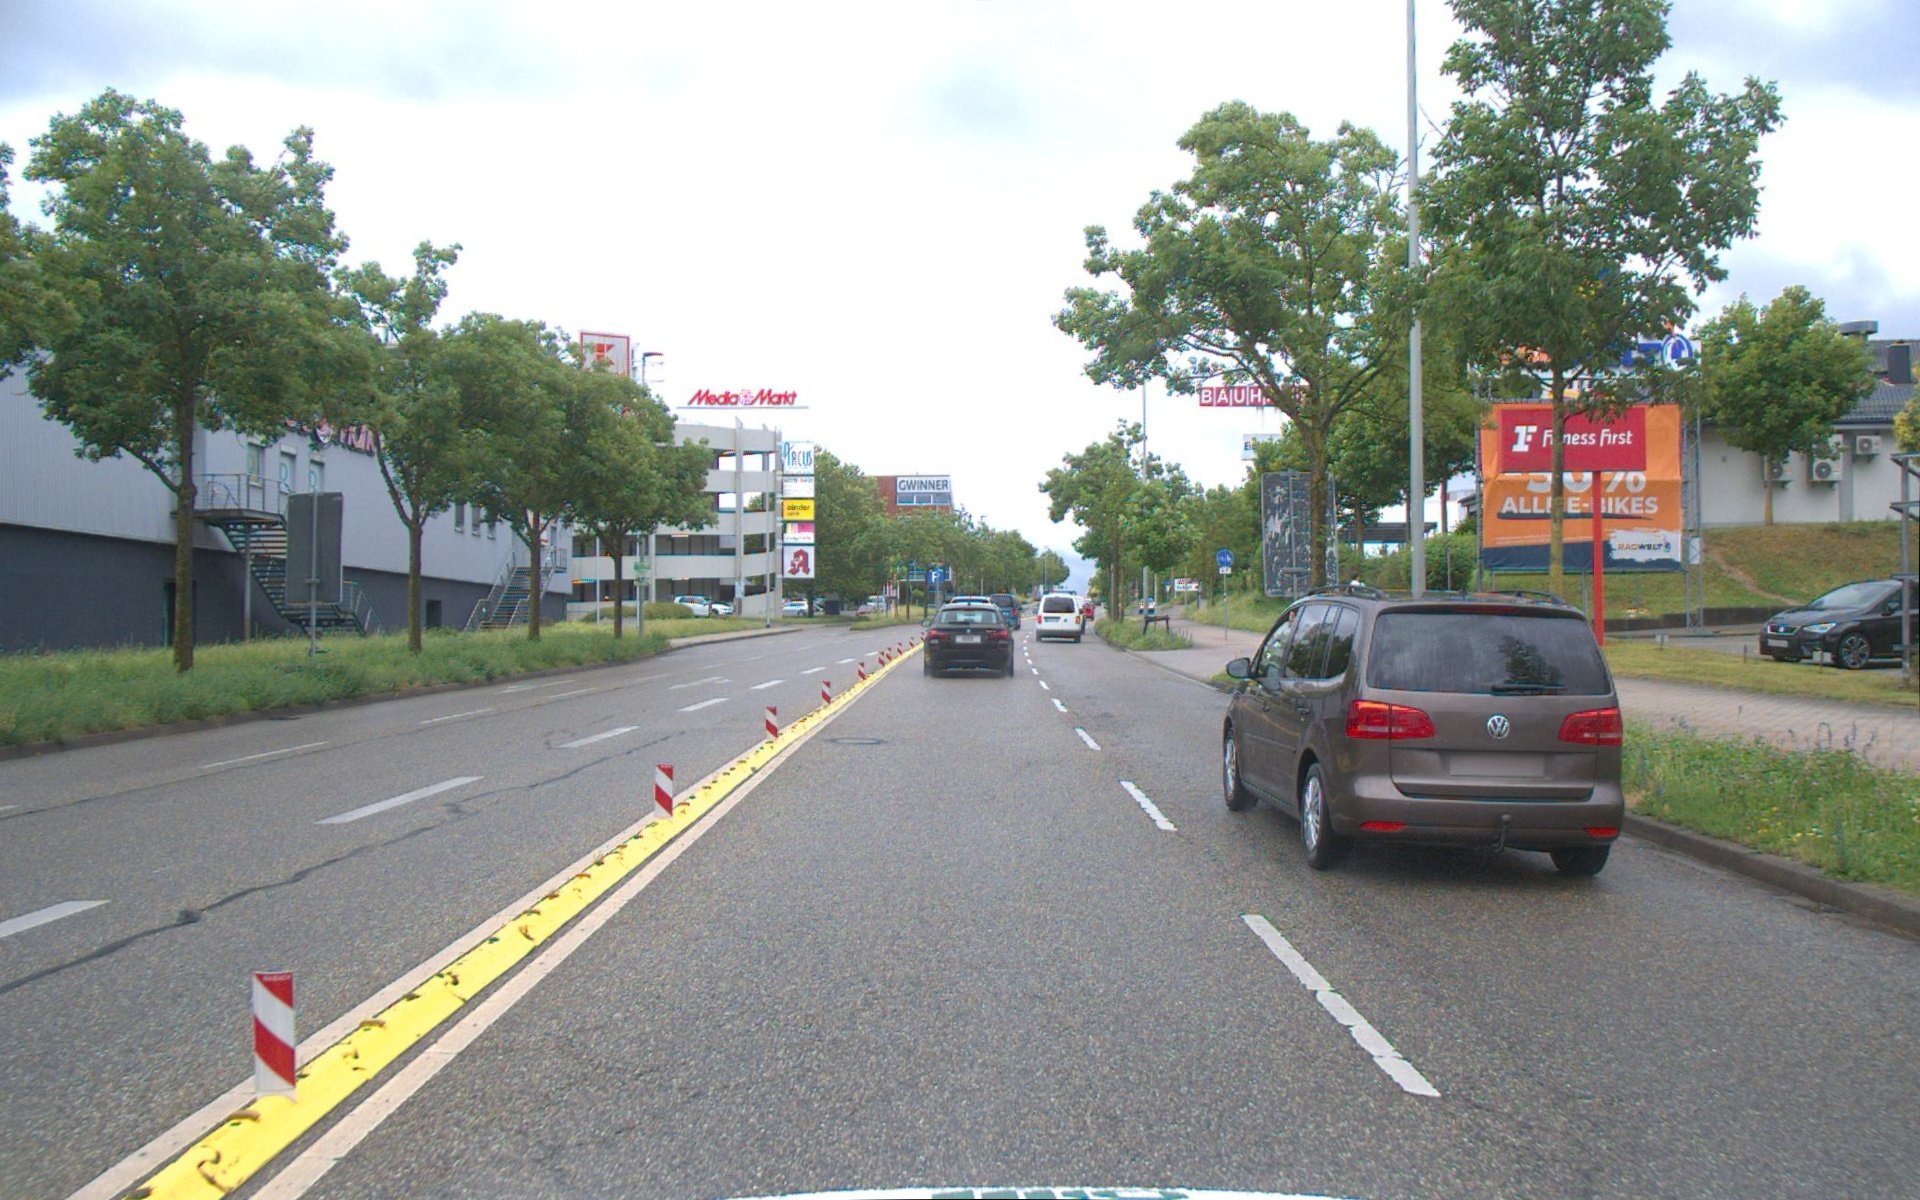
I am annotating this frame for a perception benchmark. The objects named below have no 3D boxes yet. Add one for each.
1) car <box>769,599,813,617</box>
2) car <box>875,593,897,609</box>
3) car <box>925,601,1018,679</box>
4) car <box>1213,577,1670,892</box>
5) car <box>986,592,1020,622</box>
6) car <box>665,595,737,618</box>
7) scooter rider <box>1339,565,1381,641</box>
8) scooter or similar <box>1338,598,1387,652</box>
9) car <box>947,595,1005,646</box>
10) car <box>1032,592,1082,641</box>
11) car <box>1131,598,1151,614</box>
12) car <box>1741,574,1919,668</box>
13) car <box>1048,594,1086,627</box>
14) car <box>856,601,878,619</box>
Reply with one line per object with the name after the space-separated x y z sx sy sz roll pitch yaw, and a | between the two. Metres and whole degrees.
-17.735 0.804 173.927 4.506 1.776 1.966 1 1 -2 | car
-9.112 0.112 203.982 2.093 1.804 4.611 1 1 4 | car
0.239 0.780 34.175 1.789 1.494 4.000 1 0 0 | car
2.865 0.740 10.821 1.651 1.609 4.217 2 -1 -1 | car
2.290 0.374 88.939 1.757 1.537 4.000 1 -1 1 | car
-17.398 0.427 111.228 4.316 1.433 1.907 -1 1 15 | car
9.939 0.083 41.107 0.682 1.852 0.857 -2 -2 -8 | scooter rider
9.975 0.640 41.025 0.682 1.286 1.398 -2 -1 -8 | scooter or similar
0.529 0.650 52.993 1.757 1.537 4.000 1 -1 1 | car
3.737 0.624 63.995 1.789 1.790 4.001 1 0 2 | car
18.330 0.641 167.359 1.757 1.537 4.001 1 -1 2 | car
15.594 0.312 28.041 4.020 1.463 1.791 -1 2 -13 | car
5.247 0.505 81.564 1.757 1.537 4.001 1 -1 2 | car
-9.451 1.023 168.621 1.893 1.637 4.712 1 1 1 | car
